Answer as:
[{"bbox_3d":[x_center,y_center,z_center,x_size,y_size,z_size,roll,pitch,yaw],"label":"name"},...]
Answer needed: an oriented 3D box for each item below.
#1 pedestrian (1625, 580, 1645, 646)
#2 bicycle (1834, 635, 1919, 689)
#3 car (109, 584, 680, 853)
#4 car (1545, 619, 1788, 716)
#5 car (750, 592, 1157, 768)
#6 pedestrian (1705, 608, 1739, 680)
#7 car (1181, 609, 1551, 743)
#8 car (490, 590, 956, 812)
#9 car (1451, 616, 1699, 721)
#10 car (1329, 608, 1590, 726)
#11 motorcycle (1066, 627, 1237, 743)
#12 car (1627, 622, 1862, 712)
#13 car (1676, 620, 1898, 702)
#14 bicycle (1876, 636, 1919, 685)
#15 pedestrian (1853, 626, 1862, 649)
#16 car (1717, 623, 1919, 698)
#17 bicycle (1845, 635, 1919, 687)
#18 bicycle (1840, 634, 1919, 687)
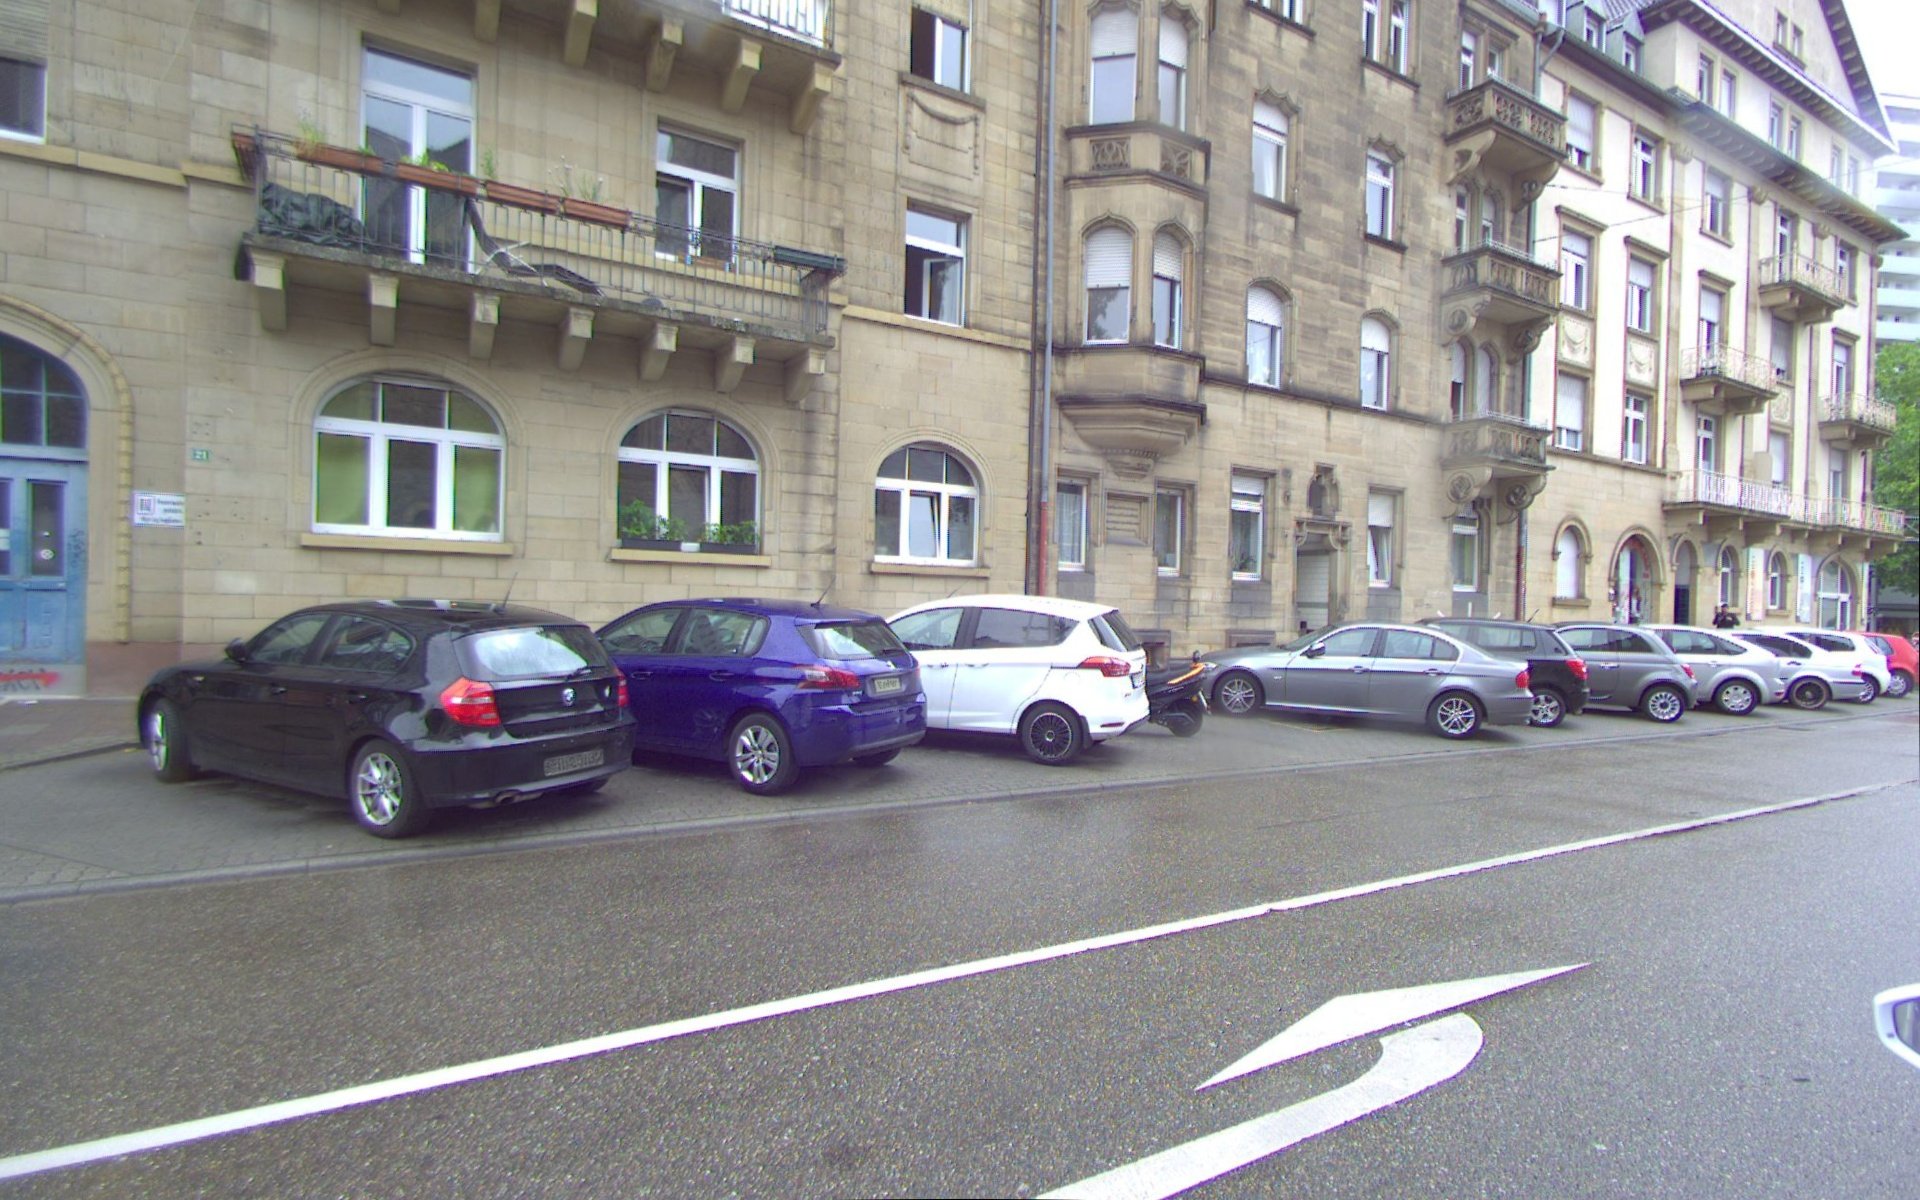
[{"bbox_3d":[19.167,0.370,28.513,0.343,1.846,0.364,2,-1,-32],"label":"pedestrian"},{"bbox_3d":[23.492,1.552,25.613,0.516,1.283,1.754,1,-1,-31],"label":"bicycle"},{"bbox_3d":[-4.243,0.686,7.486,3.969,1.532,1.797,1,-1,27],"label":"car"},{"bbox_3d":[12.957,1.189,18.664,3.337,1.578,1.705,1,0,21],"label":"car"},{"bbox_3d":[-0.026,0.746,10.746,3.964,1.576,1.799,1,-1,20],"label":"car"},{"bbox_3d":[22.164,1.275,29.230,0.647,2.040,0.565,1,0,-30],"label":"pedestrian"},{"bbox_3d":[5.404,0.956,13.880,4.457,1.565,1.689,1,0,17],"label":"car"},{"bbox_3d":[-2.203,0.745,9.101,3.972,1.594,1.795,1,-1,31],"label":"car"},{"bbox_3d":[10.357,1.100,17.184,3.337,1.578,1.652,1,0,21],"label":"car"},{"bbox_3d":[7.663,0.977,15.754,3.484,1.619,1.605,1,0,21],"label":"car"},{"bbox_3d":[2.254,0.964,11.874,1.837,1.177,0.633,3,1,23],"label":"motorcycle"},{"bbox_3d":[15.665,1.287,20.263,3.337,1.578,1.705,1,0,21],"label":"car"},{"bbox_3d":[17.943,1.282,21.978,3.337,1.578,1.705,1,0,21],"label":"car"},{"bbox_3d":[26.123,1.656,27.258,0.601,1.283,1.754,1,-1,-31],"label":"bicycle"},{"bbox_3d":[61.084,2.573,68.356,0.437,1.550,0.639,1,0,44],"label":"pedestrian"},{"bbox_3d":[20.211,1.374,23.728,3.337,1.578,1.705,1,0,21],"label":"car"},{"bbox_3d":[24.464,1.582,26.366,0.492,1.283,1.801,1,-1,-31],"label":"bicycle"},{"bbox_3d":[23.947,1.557,25.906,0.492,1.283,1.801,1,-1,-31],"label":"bicycle"}]
